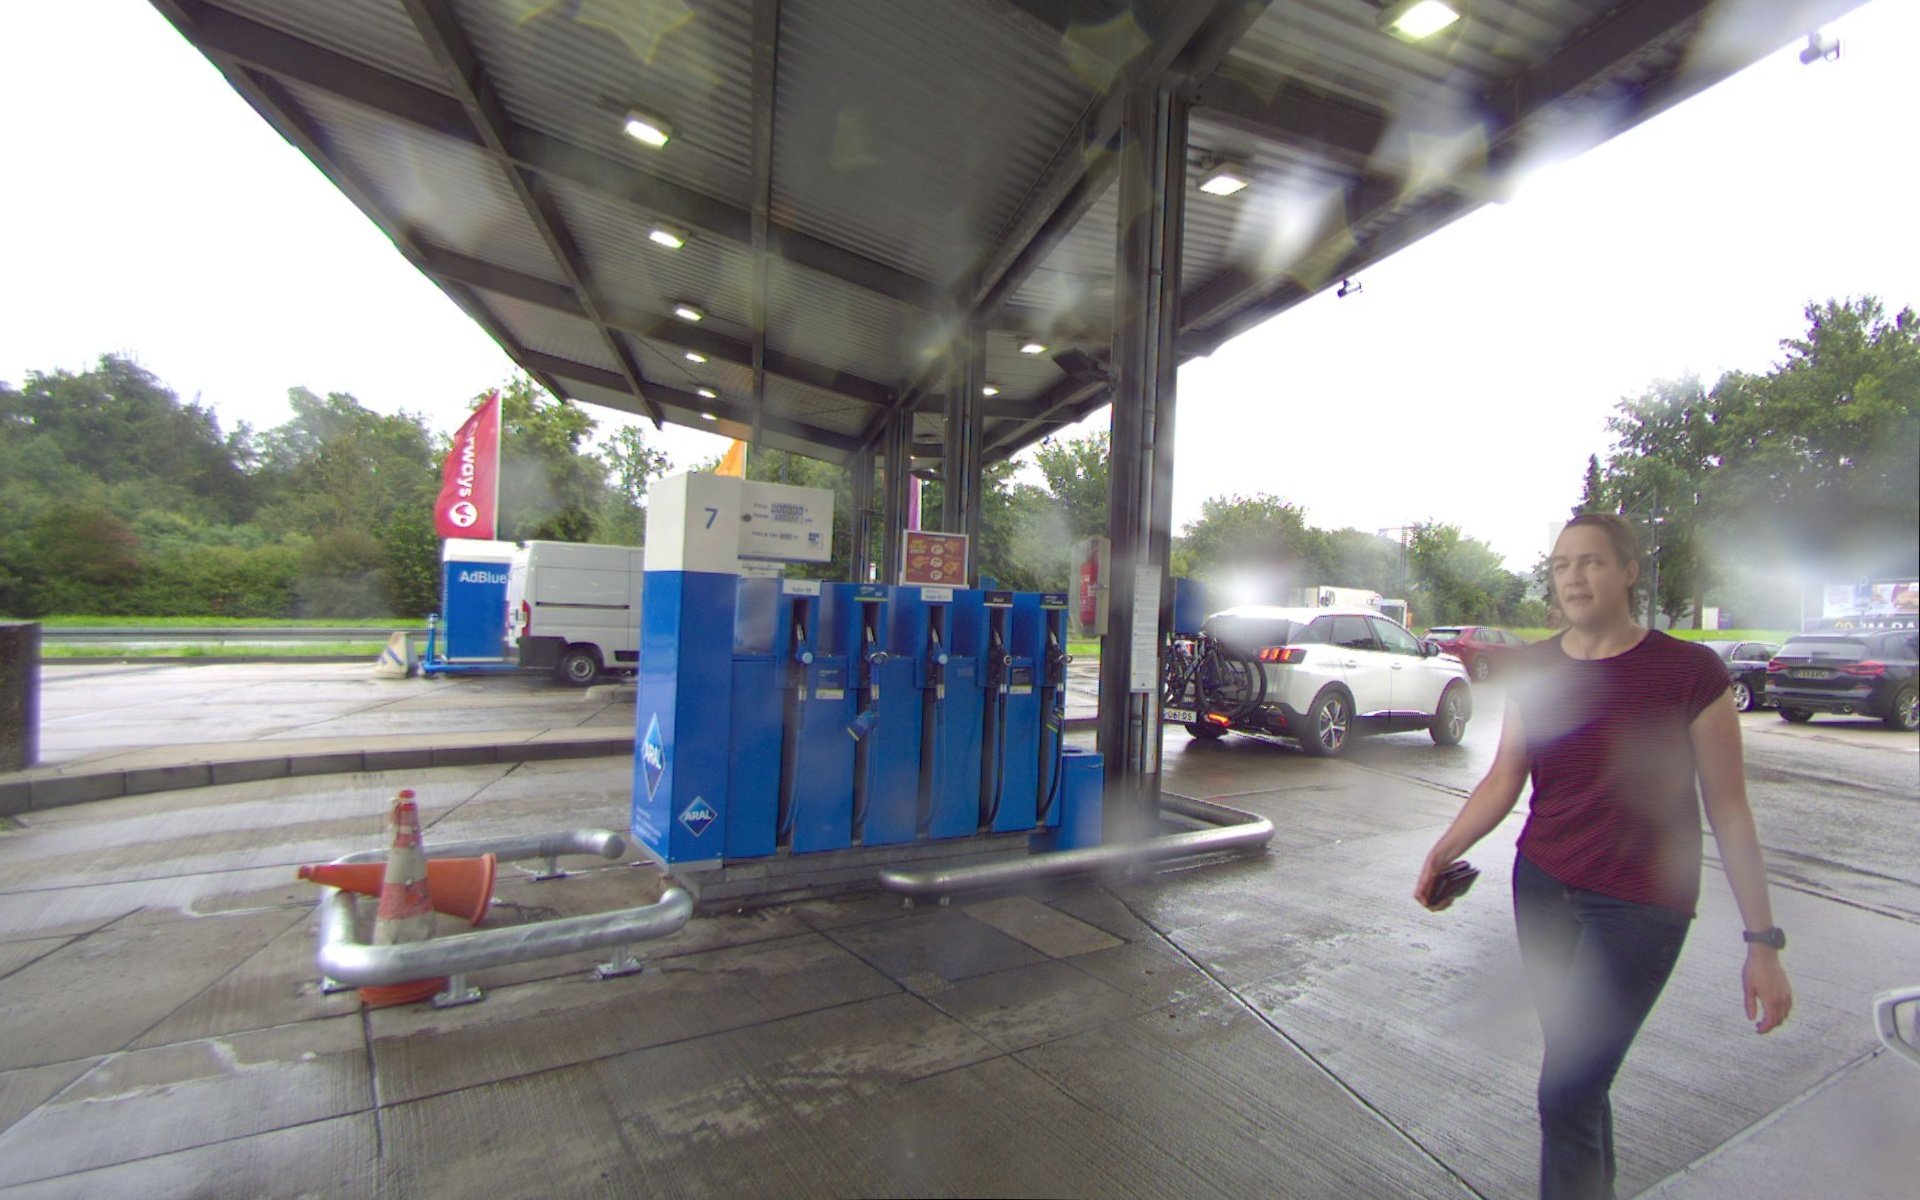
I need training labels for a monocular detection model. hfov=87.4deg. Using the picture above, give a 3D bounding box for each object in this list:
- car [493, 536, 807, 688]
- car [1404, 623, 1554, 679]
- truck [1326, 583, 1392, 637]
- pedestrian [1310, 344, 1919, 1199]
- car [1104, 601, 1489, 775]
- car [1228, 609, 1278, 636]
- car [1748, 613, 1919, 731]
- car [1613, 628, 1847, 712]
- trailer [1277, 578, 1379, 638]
[{"bbox_3d":[-5.760,0.261,18.945,5.227,2.496,2.306,1,-1,-34],"label":"car"},{"bbox_3d":[16.005,1.557,30.975,4.294,1.617,1.879,1,-1,-24],"label":"car"},{"bbox_3d":[35.588,0.912,89.464,3.416,4.618,6.704,2,0,40],"label":"truck"},{"bbox_3d":[1.314,0.515,2.027,0.830,1.757,0.790,2,-1,-31],"label":"pedestrian"},{"bbox_3d":[4.046,0.871,11.591,4.960,1.586,1.800,1,0,-39],"label":"car"},{"bbox_3d":[20.724,1.574,71.011,1.903,1.862,4.373,1,0,38],"label":"car"},{"bbox_3d":[16.154,1.185,17.409,4.344,1.852,1.883,1,-1,-19],"label":"car"},{"bbox_3d":[15.941,1.413,20.828,4.119,1.585,1.883,1,-1,-19],"label":"car"},{"bbox_3d":[30.915,0.742,83.860,3.416,4.618,13.847,2,0,40],"label":"trailer"}]
